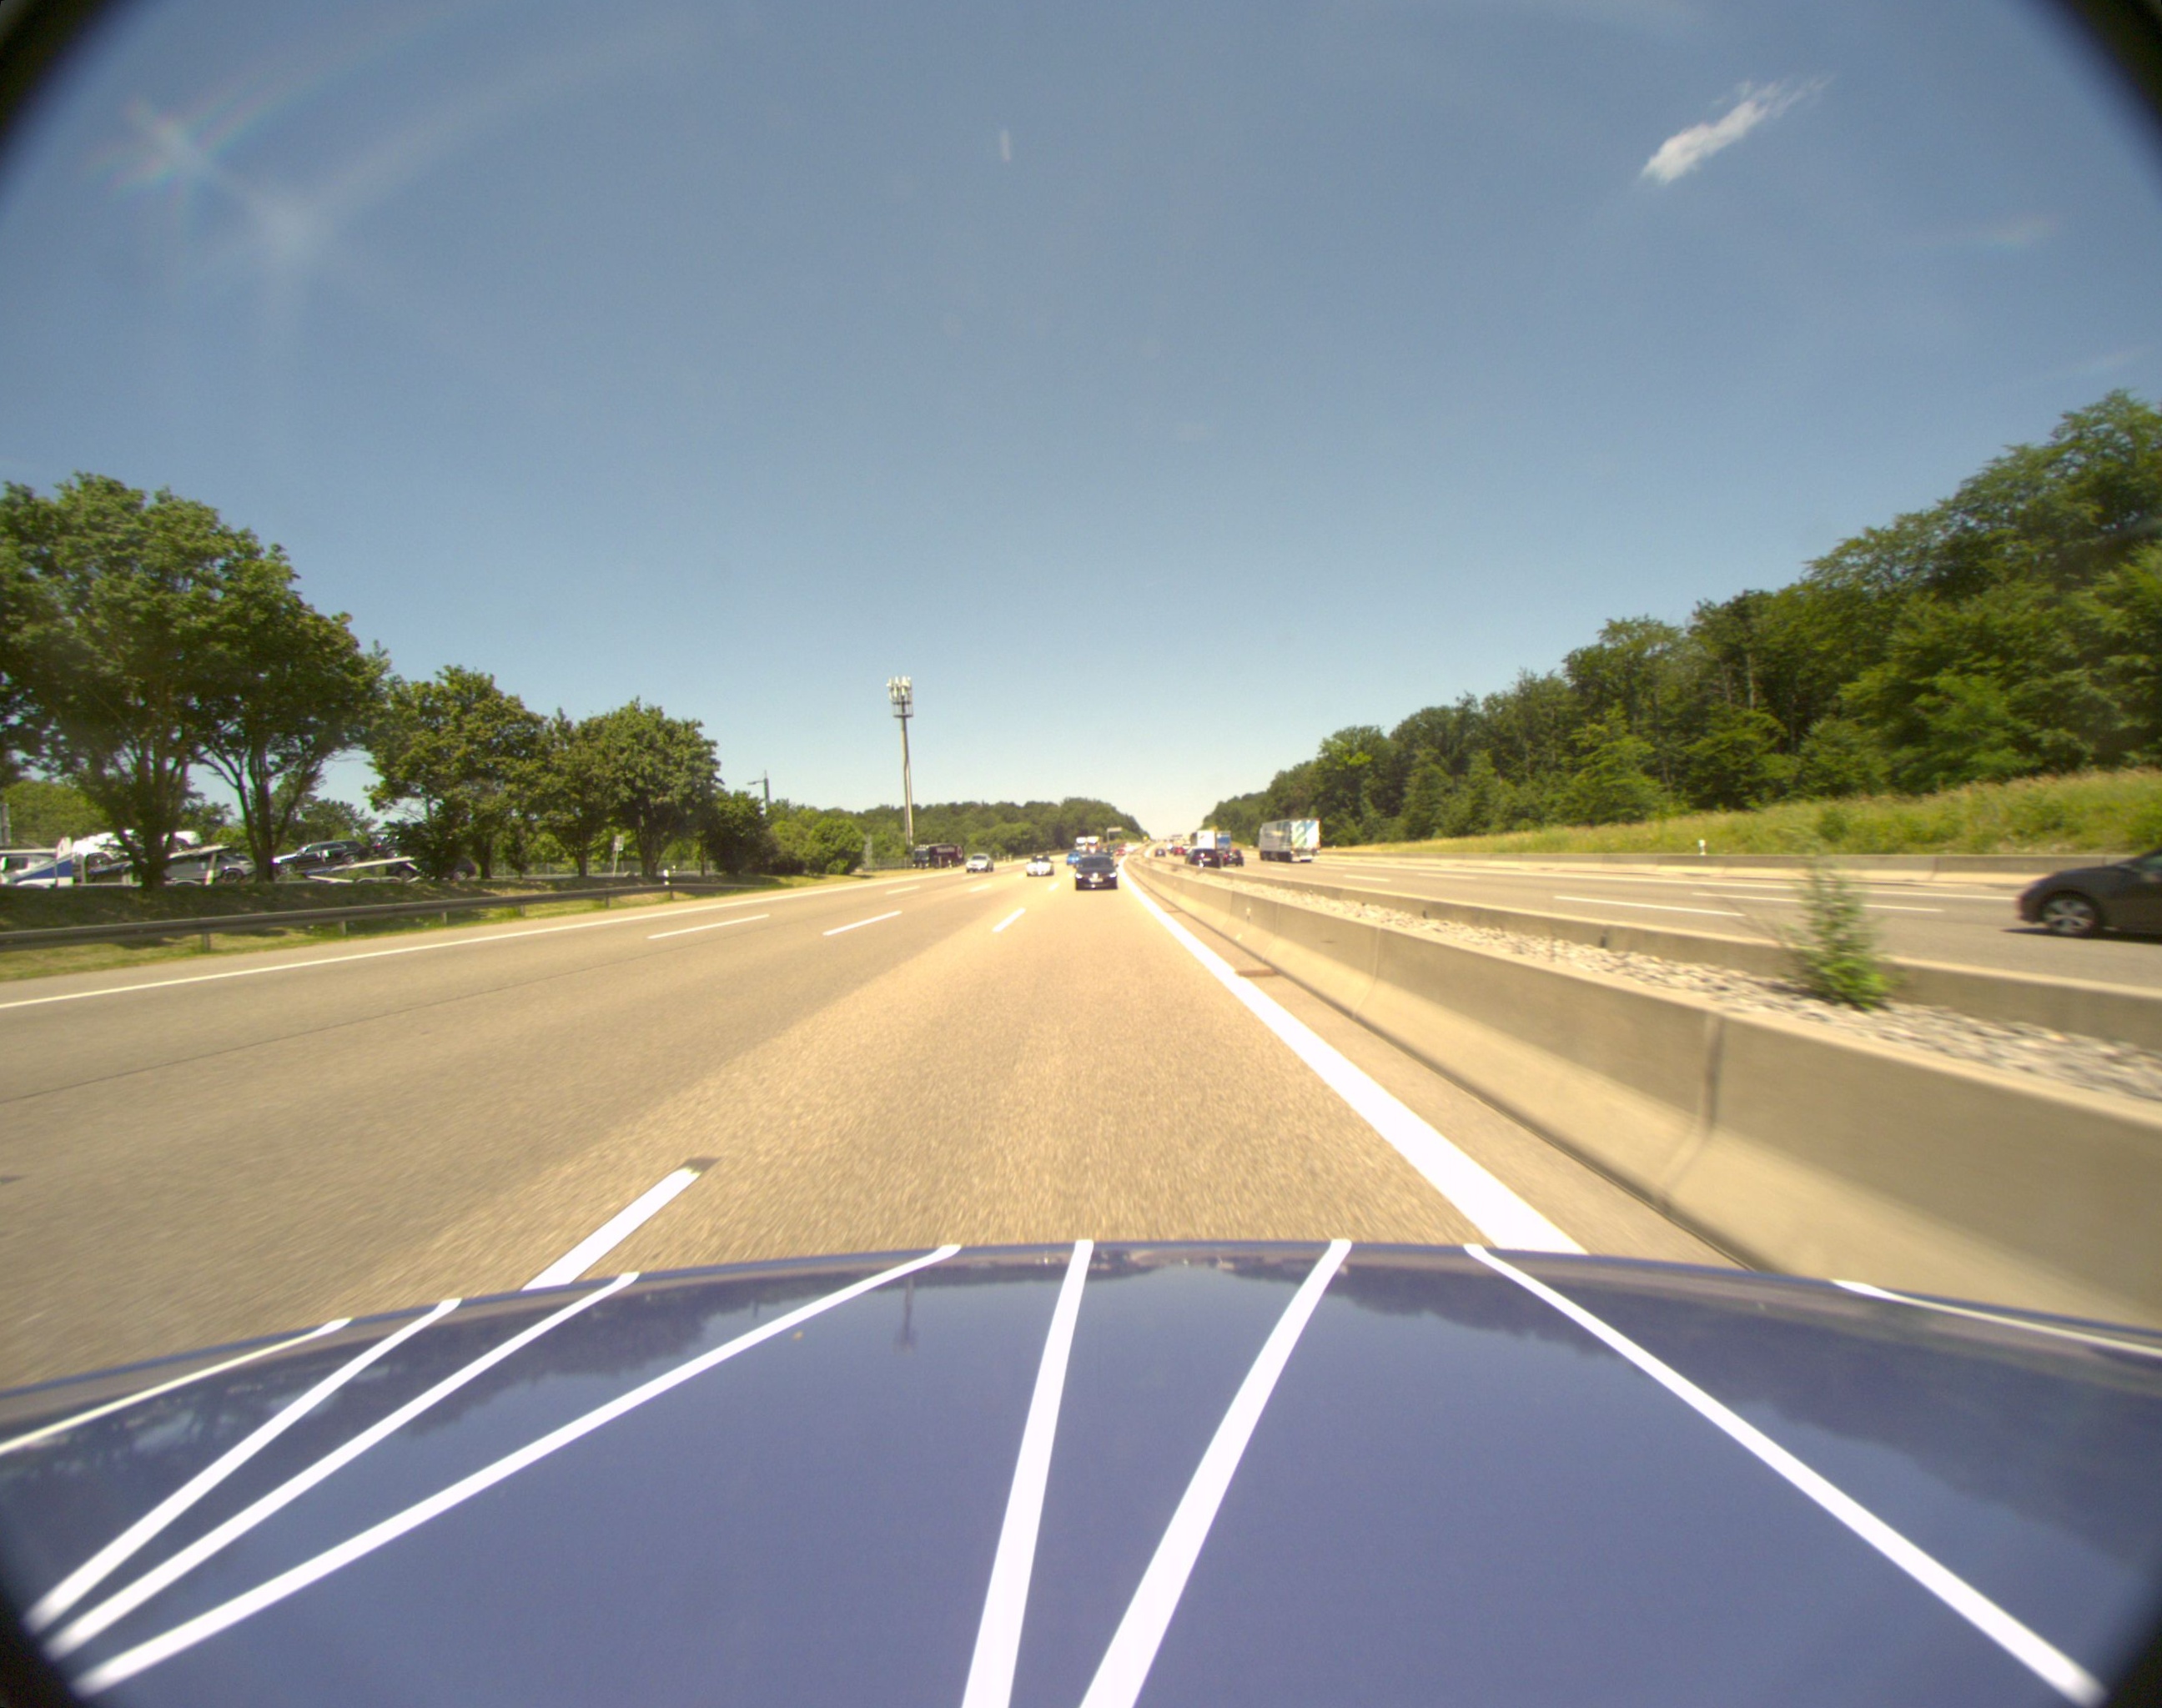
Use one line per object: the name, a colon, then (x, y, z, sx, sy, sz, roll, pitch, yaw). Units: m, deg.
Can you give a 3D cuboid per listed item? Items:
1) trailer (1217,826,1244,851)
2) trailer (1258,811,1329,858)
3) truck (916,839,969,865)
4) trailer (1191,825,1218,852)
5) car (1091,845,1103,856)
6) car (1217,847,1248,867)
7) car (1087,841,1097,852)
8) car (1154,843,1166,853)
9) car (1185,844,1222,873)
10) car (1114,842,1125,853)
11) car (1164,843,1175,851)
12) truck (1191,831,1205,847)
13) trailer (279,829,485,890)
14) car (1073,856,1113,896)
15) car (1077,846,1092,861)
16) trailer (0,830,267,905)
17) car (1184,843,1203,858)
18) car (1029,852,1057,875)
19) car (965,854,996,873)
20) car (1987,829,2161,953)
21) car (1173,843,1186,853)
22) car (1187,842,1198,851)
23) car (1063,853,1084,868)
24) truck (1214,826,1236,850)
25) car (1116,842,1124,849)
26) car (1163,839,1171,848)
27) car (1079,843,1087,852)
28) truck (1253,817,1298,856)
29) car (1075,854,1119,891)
trailer: (25.077, -2.591, 127.725, 2.730, 3.901, 10.763, -2, 1, 3)
trailer: (20.624, -1.798, 75.049, 3.237, 4.014, 15.287, -2, 1, 2)
truck: (-20.471, -0.370, 113.382, 2.749, 3.551, 12.335, -2, 1, 15)
trailer: (20.280, -2.505, 125.342, 2.943, 4.076, 12.154, -2, 1, 3)
car: (2.936, -0.670, 137.925, 1.999, 1.848, 3.999, -3, 1, -1)
car: (12.744, 0.228, 64.021, 1.779, 1.456, 3.999, -2, 1, 1)
car: (2.521, -1.714, 174.935, 2.234, 2.372, 4.161, -2, 1, 0)
car: (13.159, -0.986, 126.978, 1.753, 1.510, 4.827, -2, 1, 4)
car: (8.199, 0.248, 51.353, 1.832, 1.819, 4.984, -2, 1, 2)
car: (7.737, -1.208, 152.663, 1.998, 2.001, 4.001, -3, -1, 3)
car: (18.366, -1.457, 157.300, 1.813, 1.543, 5.260, -2, 1, 3)
truck: (32.578, -4.235, 212.038, 2.949, 4.186, 9.347, -2, 1, 3)
trailer: (-47.795, 0.249, 52.358, 2.237, 3.696, 10.135, -1, 2, 43)
car: (0.516, 0.820, 29.358, 1.447, 1.376, 3.049, -1, 1, 2)
car: (0.609, -0.092, 115.563, 1.998, 2.002, 4.000, -2, 1, 3)
trailer: (-55.068, 0.640, 44.676, 9.613, 4.012, 2.309, -2, 1, -45)
car: (14.300, -0.512, 97.150, 1.822, 1.792, 4.891, -2, 1, 2)
car: (-2.628, 0.656, 53.520, 1.730, 1.521, 3.741, -2, 1, 0)
car: (-8.863, 0.835, 67.165, 1.998, 1.521, 4.000, -2, 1, 3)
car: (14.434, 0.464, 8.916, 1.998, 1.488, 4.798, -2, 1, 3)
car: (17.081, -1.021, 131.872, 1.801, 1.630, 4.545, -2, 1, 4)
car: (26.284, -1.743, 178.960, 2.081, 1.954, 5.025, -2, 1, 3)
car: (-0.835, 0.720, 88.683, 1.998, 1.521, 4.234, -2, 1, 4)
truck: (25.411, -2.735, 134.222, 2.728, 3.991, 6.938, -2, 1, 3)
car: (11.973, -2.548, 231.242, 1.999, 2.002, 3.998, -3, 1, -2)
car: (21.700, -2.689, 190.903, 1.861, 2.180, 4.067, -2, 1, 6)
car: (0.533, -1.632, 192.298, 1.898, 2.002, 3.807, -2, 1, 3)
truck: (20.875, -1.877, 81.936, 3.228, 3.980, 6.415, -2, 1, 2)
car: (0.734, 0.759, 33.127, 1.760, 1.430, 4.000, -2, 1, 2)
